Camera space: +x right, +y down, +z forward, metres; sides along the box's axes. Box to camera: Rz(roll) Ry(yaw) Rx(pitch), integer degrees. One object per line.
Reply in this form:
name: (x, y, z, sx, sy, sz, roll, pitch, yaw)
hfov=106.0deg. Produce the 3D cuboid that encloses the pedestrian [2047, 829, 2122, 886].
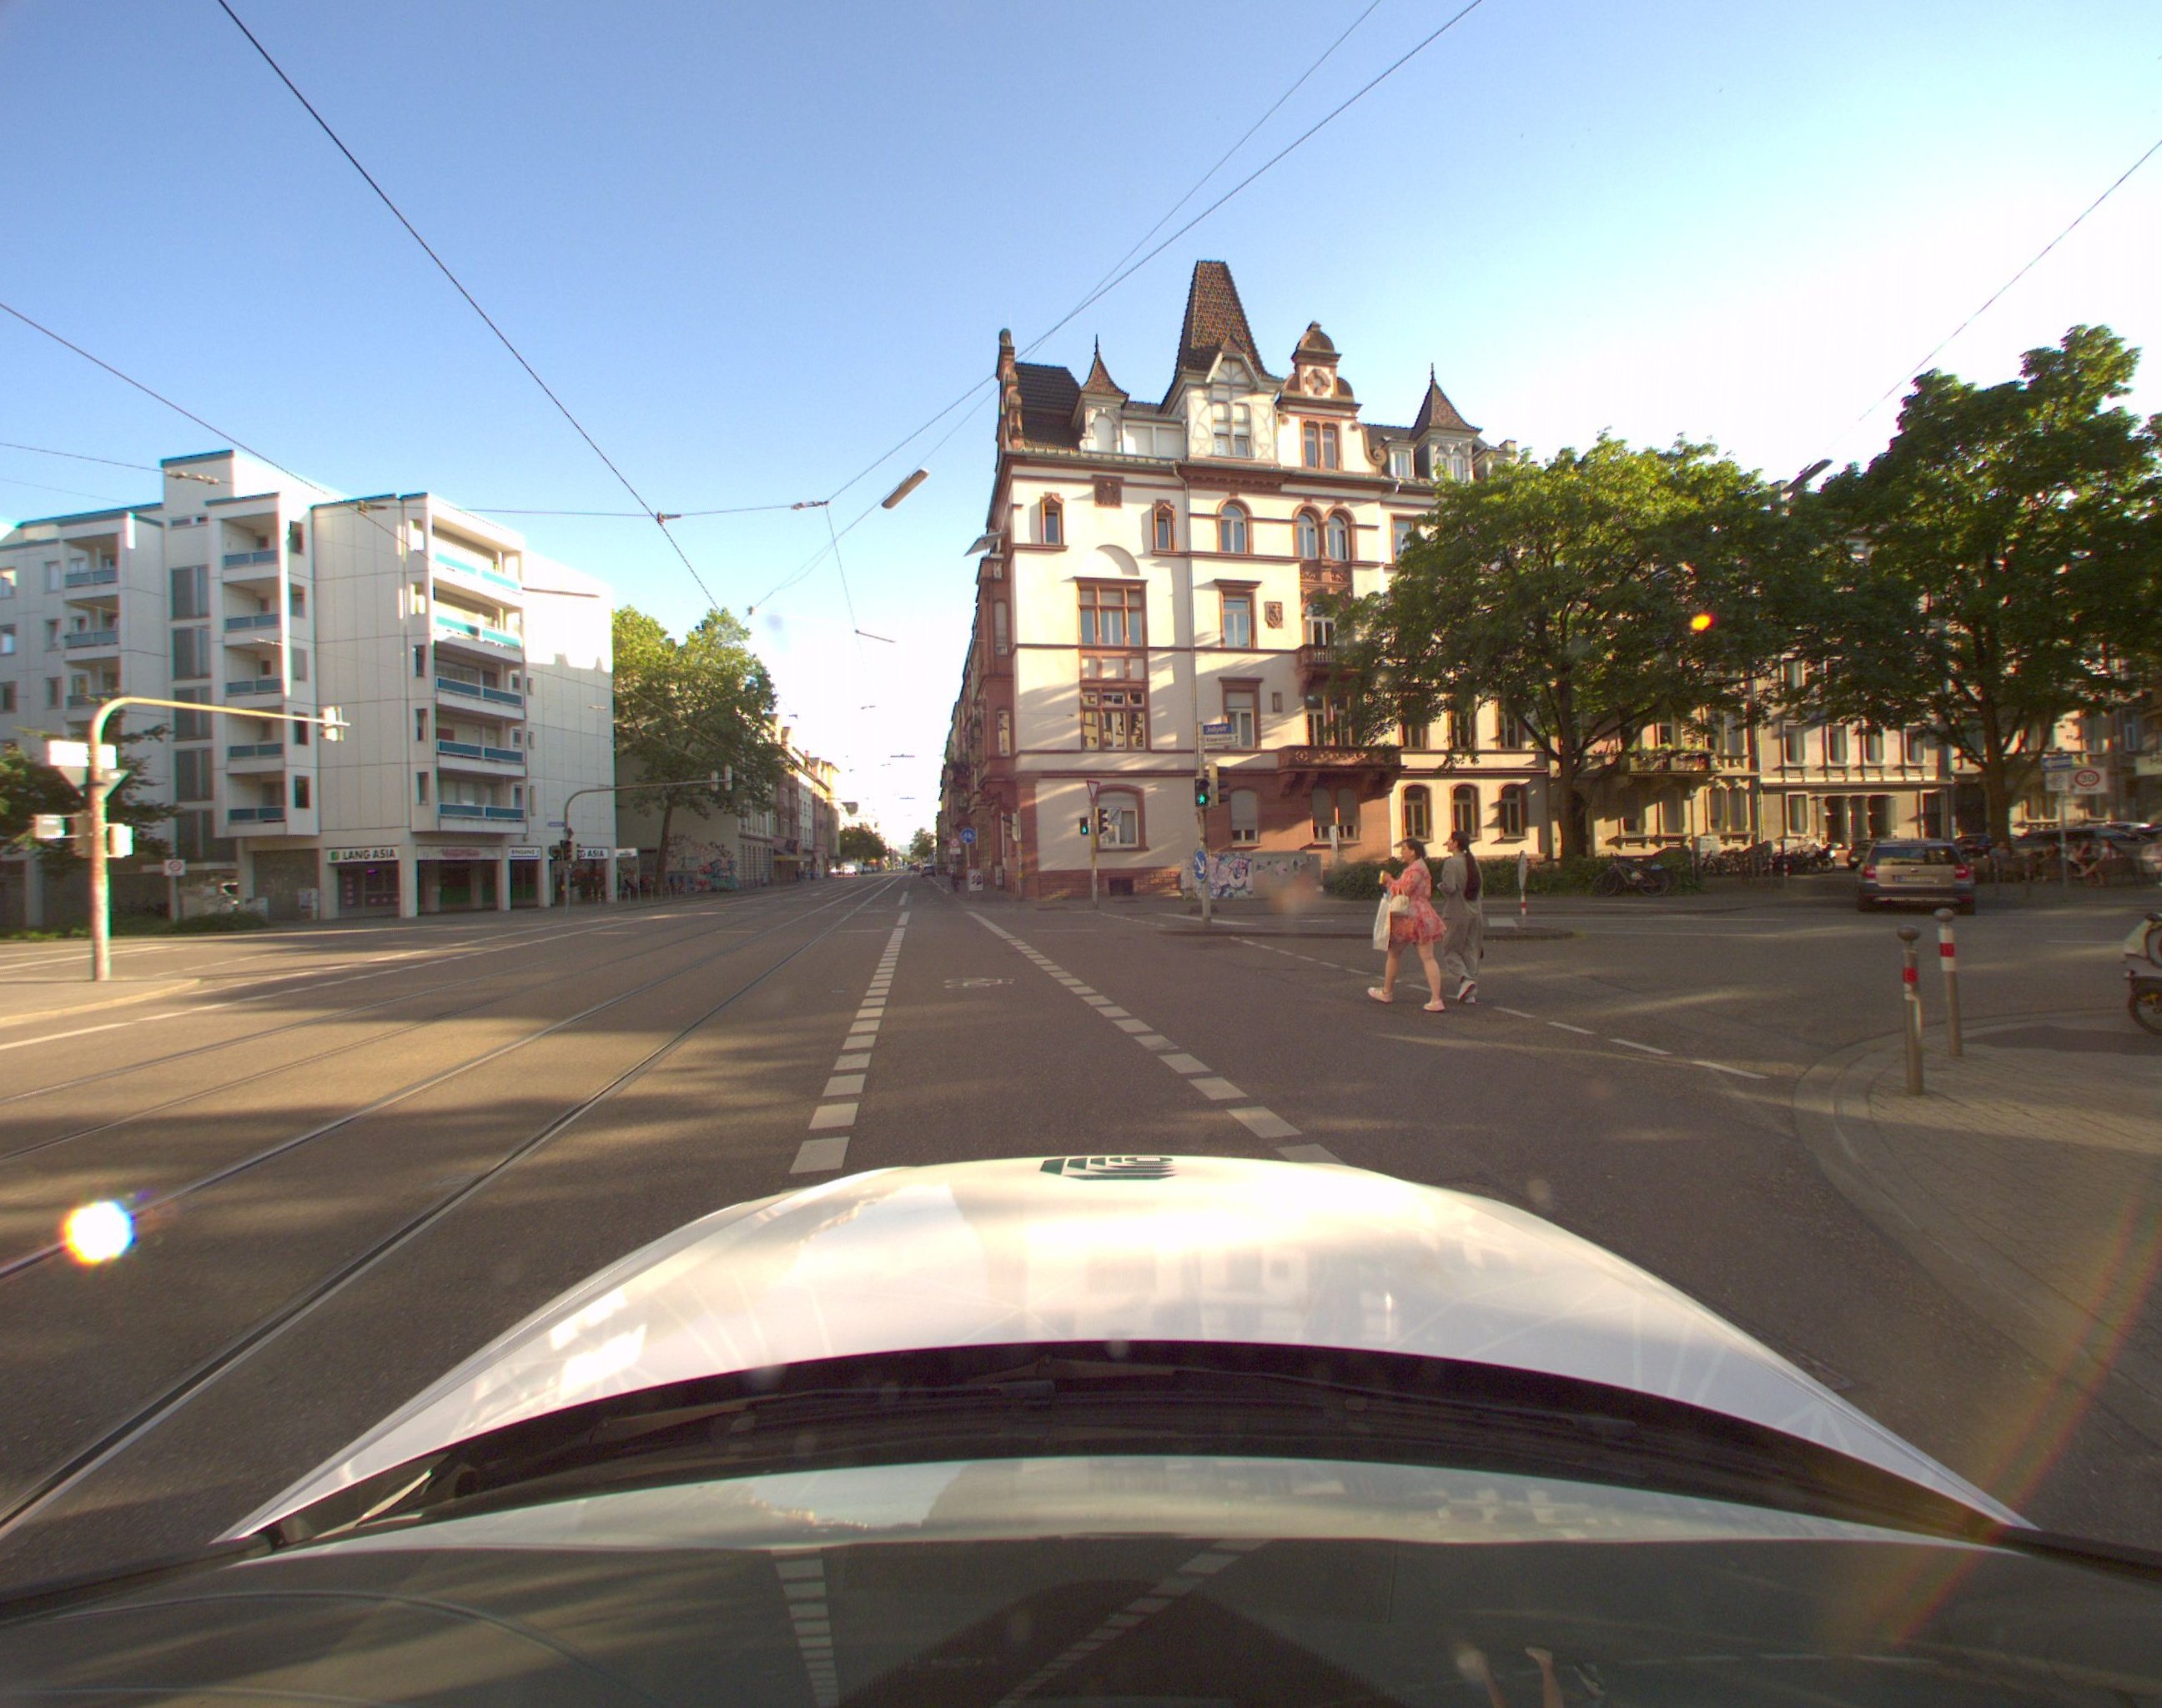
pedestrian: (27.148, 0.099, 22.045, 0.904, 1.428, 0.769, -6, -2, 21)

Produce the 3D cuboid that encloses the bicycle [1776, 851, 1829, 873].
bicycle: (31.203, 0.347, 35.234, 0.491, 0.893, 1.792, -2, -1, -9)

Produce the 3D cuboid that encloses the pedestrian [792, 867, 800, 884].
pedestrian: (-28.981, 2.171, 82.787, 0.701, 1.728, 0.645, -2, -1, -12)

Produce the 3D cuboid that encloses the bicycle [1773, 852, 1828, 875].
bicycle: (29.734, 0.396, 33.673, 1.784, 0.893, 0.493, -2, -1, 3)

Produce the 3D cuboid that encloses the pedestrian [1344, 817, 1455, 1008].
pedestrian: (3.172, 0.562, 8.179, 0.802, 1.800, 0.762, 2, 0, 3)

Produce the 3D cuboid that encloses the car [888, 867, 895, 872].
car: (-55.244, 4.567, 237.338, 1.820, 1.442, 3.984, -1, -1, -11)

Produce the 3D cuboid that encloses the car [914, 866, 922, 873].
car: (-41.611, 3.922, 207.589, 1.995, 1.728, 3.983, -1, -1, -12)

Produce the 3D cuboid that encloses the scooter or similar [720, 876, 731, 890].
scooter or similar: (-26.656, 2.174, 61.088, 0.517, 1.057, 1.471, -2, -1, -13)

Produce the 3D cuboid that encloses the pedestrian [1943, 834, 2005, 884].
pedestrian: (27.029, 0.152, 24.672, 0.904, 1.428, 0.769, -6, -2, 22)

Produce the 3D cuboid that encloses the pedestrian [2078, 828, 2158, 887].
pedestrian: (26.795, 0.089, 21.064, 0.904, 1.428, 0.769, -6, -2, 22)

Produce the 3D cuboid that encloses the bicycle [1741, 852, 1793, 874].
bicycle: (29.341, 0.390, 34.880, 0.491, 0.893, 1.792, -2, -1, -9)

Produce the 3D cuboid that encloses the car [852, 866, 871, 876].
car: (-51.787, 4.024, 192.176, 4.018, 2.014, 1.978, -1, -1, -37)

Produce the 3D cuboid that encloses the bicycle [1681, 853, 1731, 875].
bicycle: (26.091, 0.409, 34.045, 0.491, 0.893, 1.792, -2, -1, -9)

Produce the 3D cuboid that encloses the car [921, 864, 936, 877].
car: (-20.974, 2.292, 112.010, 1.950, 1.684, 3.985, -2, -1, -10)

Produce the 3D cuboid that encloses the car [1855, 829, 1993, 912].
car: (19.186, 0.319, 18.536, 4.023, 1.618, 1.976, -2, 0, -43)

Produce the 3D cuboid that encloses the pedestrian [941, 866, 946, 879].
pedestrian: (-18.262, 2.454, 108.108, 0.545, 1.780, 0.746, -2, -1, -11)

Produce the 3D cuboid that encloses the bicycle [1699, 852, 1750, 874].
bicycle: (26.969, 0.389, 34.150, 0.491, 0.893, 1.792, -2, -1, -9)

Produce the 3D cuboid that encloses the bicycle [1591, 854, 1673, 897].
bicycle: (15.663, 0.611, 23.185, 1.841, 1.161, 0.563, -2, 1, 26)

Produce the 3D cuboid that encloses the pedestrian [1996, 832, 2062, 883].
pedestrian: (28.039, 0.103, 24.098, 0.904, 1.428, 0.769, -6, -2, 22)

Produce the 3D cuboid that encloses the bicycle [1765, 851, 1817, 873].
bicycle: (30.656, 0.360, 35.190, 0.491, 0.893, 1.792, -2, -1, -9)

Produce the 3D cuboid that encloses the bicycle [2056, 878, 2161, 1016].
bicycle: (8.733, 0.723, 6.413, 0.776, 1.045, 1.062, -2, -2, -2)

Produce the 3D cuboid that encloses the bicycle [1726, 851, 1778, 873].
bicycle: (28.430, 0.359, 34.546, 0.491, 0.893, 1.792, -2, -1, -9)

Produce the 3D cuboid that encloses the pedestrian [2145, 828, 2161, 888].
pedestrian: (26.159, 0.070, 19.226, 0.904, 1.428, 0.769, -6, -2, 22)

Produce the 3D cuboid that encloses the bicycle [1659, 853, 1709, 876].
bicycle: (25.088, 0.433, 33.919, 0.491, 0.893, 1.792, -2, -1, -9)

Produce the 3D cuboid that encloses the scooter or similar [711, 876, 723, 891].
scooter or similar: (-27.259, 2.192, 60.924, 0.517, 1.045, 1.471, -2, -1, -13)

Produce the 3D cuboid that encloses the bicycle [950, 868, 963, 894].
bicycle: (-6.780, 1.450, 44.318, 0.653, 1.323, 2.169, -2, -1, -9)

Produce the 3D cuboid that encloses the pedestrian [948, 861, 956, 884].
pedestrian: (-10.043, 1.441, 63.543, 0.545, 1.780, 0.502, -2, -1, -11)

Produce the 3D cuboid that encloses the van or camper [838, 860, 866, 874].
van or camper: (-44.479, 2.498, 158.225, 4.675, 2.563, 1.976, 0, -2, -43)

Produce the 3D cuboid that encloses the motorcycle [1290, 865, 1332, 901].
motorcycle: (7.537, 0.919, 26.758, 0.717, 1.020, 2.287, -2, 2, 0)

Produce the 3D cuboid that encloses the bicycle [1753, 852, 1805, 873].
bicycle: (29.997, 0.374, 35.044, 0.491, 0.893, 1.792, -2, -1, -9)

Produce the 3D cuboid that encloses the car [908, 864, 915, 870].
car: (-50.297, 3.810, 241.779, 1.995, 1.728, 3.983, -1, -1, -12)

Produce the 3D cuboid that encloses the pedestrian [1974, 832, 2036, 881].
pedestrian: (28.528, 0.075, 25.156, 0.904, 1.428, 0.769, -6, -2, 21)

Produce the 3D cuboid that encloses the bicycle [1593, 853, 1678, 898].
bicycle: (15.388, 0.607, 22.645, 1.841, 1.161, 0.563, -2, 1, 26)

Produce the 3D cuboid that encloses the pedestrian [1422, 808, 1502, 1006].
pedestrian: (3.854, 0.504, 8.269, 0.684, 1.908, 0.674, -1, 3, 23)

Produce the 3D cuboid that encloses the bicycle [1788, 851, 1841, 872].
bicycle: (31.832, 0.333, 35.370, 0.491, 0.893, 1.792, -2, -1, -9)

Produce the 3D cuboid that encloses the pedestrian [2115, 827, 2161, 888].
pedestrian: (26.457, 0.078, 20.018, 0.904, 1.428, 0.769, -6, -2, 21)

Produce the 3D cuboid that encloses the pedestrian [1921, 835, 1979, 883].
pedestrian: (27.363, 0.162, 25.661, 0.904, 1.428, 0.769, -6, -2, 21)
